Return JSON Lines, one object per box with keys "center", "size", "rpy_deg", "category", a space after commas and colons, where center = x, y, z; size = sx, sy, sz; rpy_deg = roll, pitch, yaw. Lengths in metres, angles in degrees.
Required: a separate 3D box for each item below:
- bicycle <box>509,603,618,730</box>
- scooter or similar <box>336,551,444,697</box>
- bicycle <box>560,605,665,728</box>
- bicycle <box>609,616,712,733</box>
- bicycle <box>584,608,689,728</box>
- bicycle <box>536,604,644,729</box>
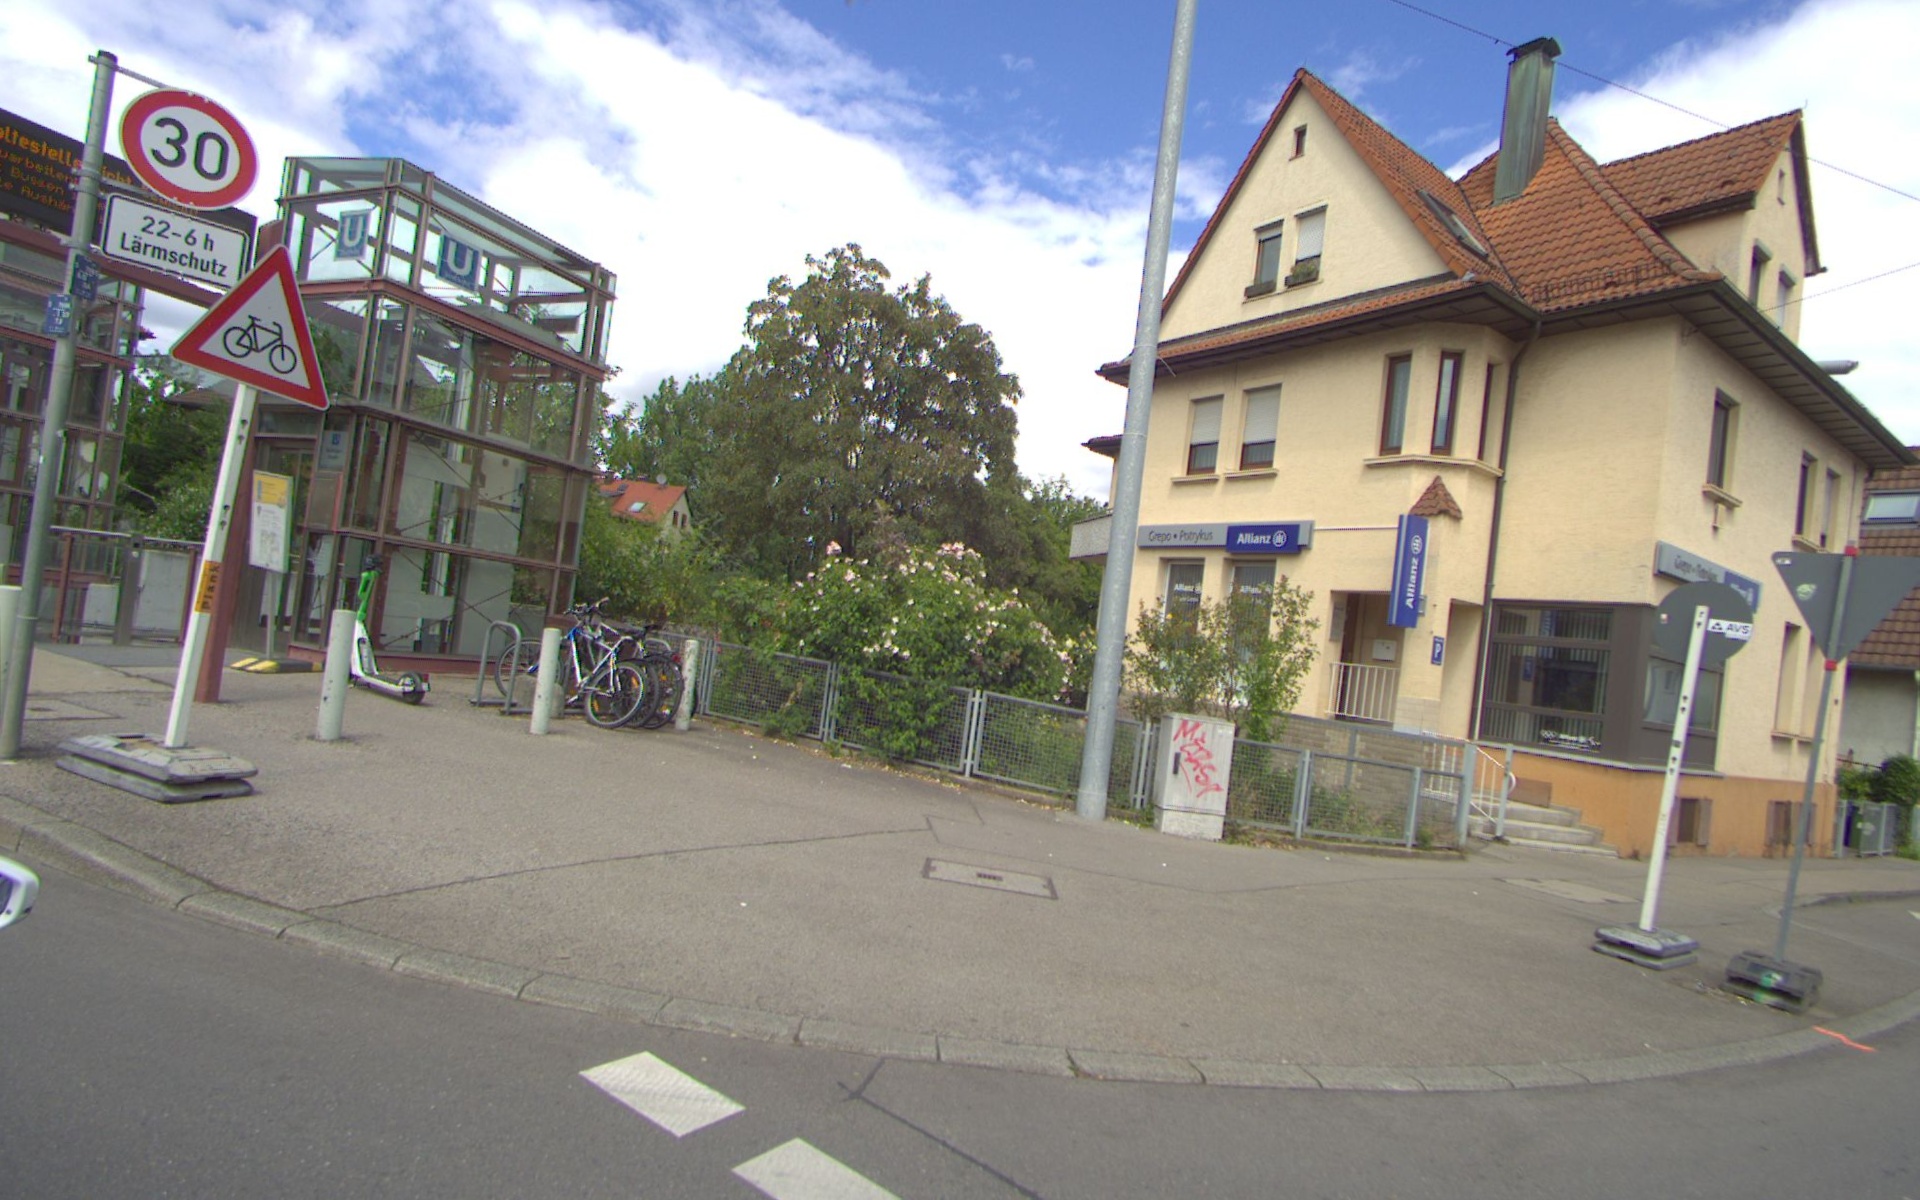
{"center": [-3.664, 0.596, 9.255], "size": [1.185, 1.001, 0.215], "rpy_deg": [7, 0, 35], "category": "bicycle"}
{"center": [-5.043, 0.206, 8.885], "size": [0.929, 1.125, 0.216], "rpy_deg": [11, 2, 27], "category": "scooter or similar"}
{"center": [-3.370, 0.625, 9.716], "size": [1.151, 1.026, 0.215], "rpy_deg": [7, 0, 35], "category": "bicycle"}
{"center": [-3.042, 0.736, 10.168], "size": [1.171, 1.021, 0.215], "rpy_deg": [7, 0, 35], "category": "bicycle"}
{"center": [-3.207, 0.653, 9.926], "size": [1.171, 1.021, 0.215], "rpy_deg": [7, 0, 35], "category": "bicycle"}
{"center": [-3.499, 0.608, 9.483], "size": [1.188, 1.013, 0.215], "rpy_deg": [7, 0, 35], "category": "bicycle"}
